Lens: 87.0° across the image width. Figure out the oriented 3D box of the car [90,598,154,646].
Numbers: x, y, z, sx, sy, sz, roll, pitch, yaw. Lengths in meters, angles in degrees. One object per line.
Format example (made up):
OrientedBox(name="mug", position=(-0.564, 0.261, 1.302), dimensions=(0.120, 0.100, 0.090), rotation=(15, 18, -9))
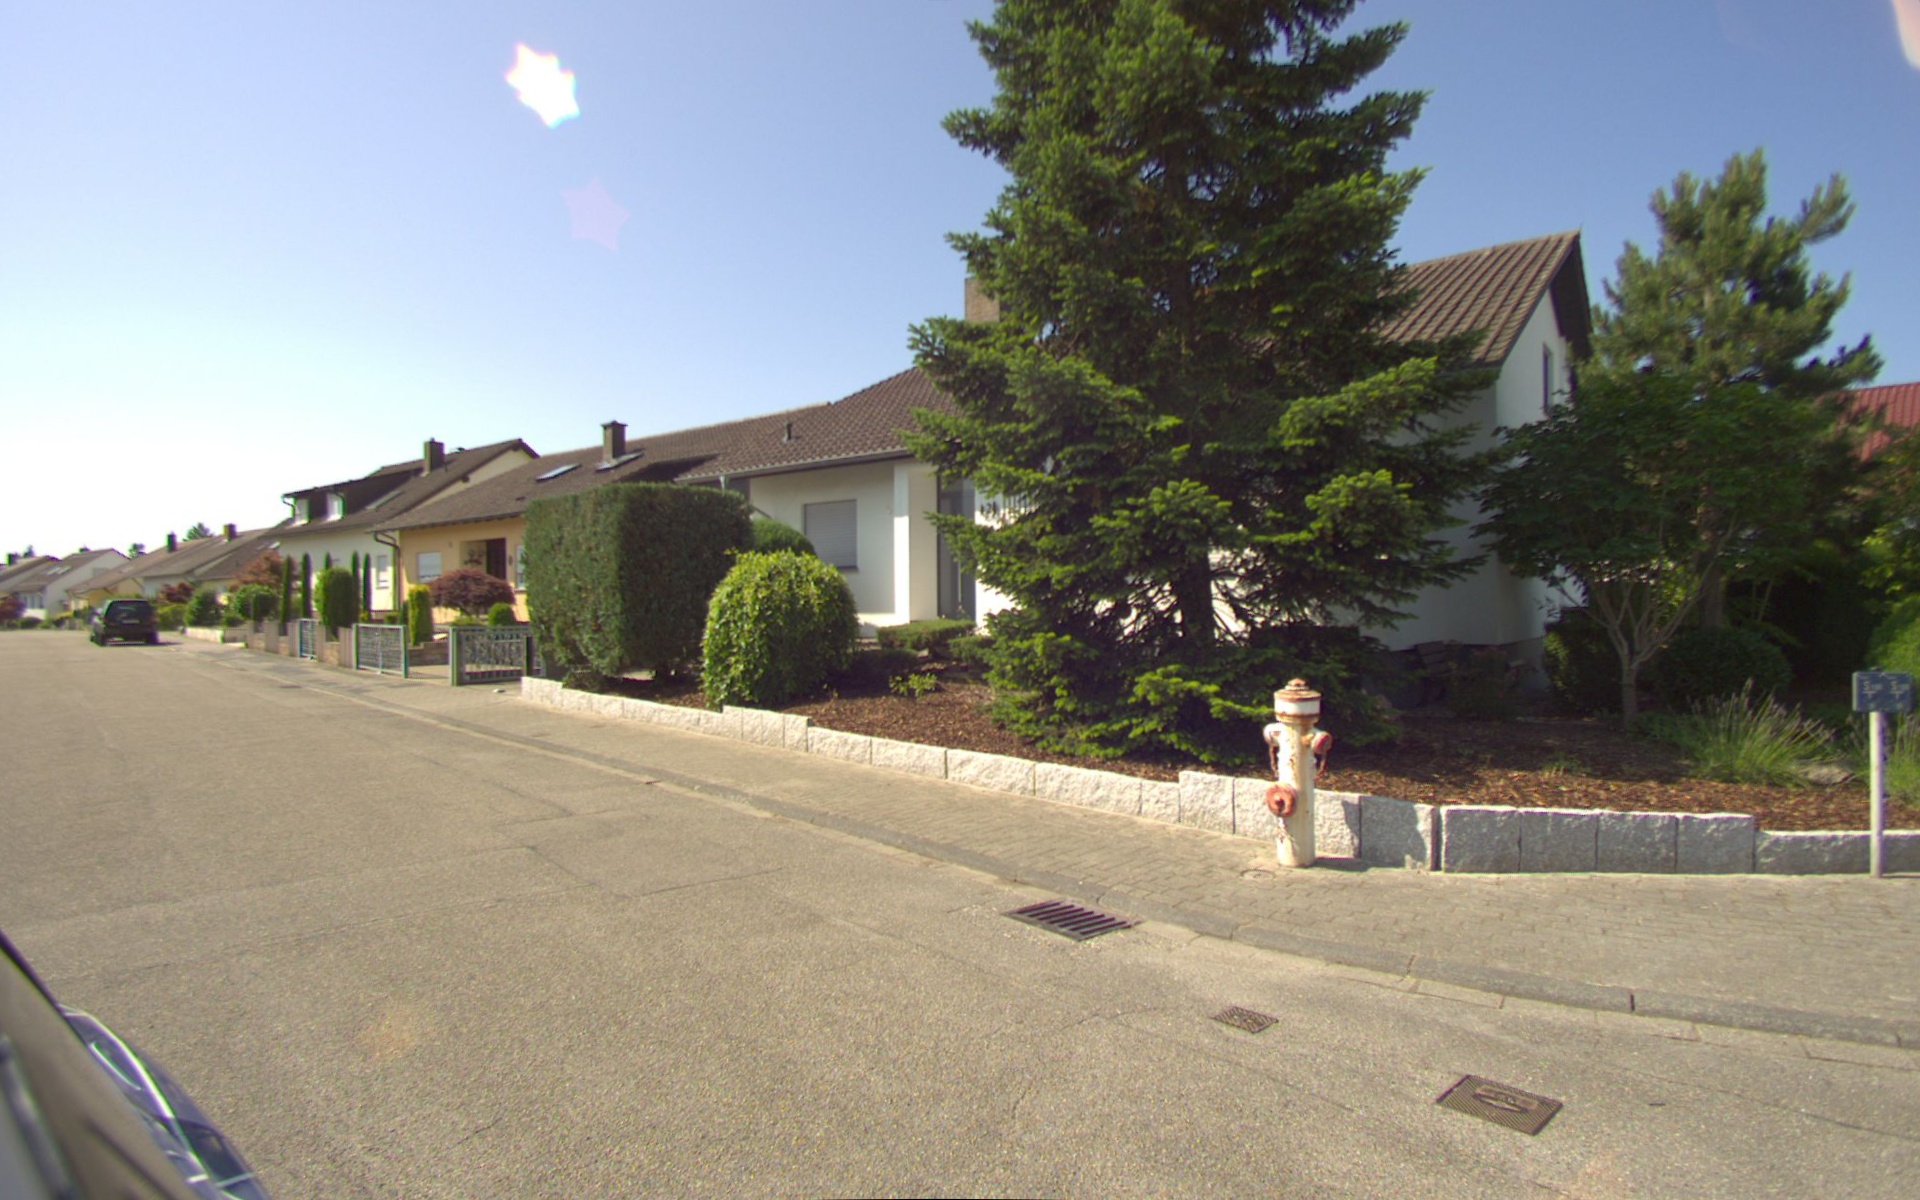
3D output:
OrientedBox(name="car", position=(-33.104, 0.845, 39.939), dimensions=(1.744, 1.791, 3.656), rotation=(0, 0, -43))
